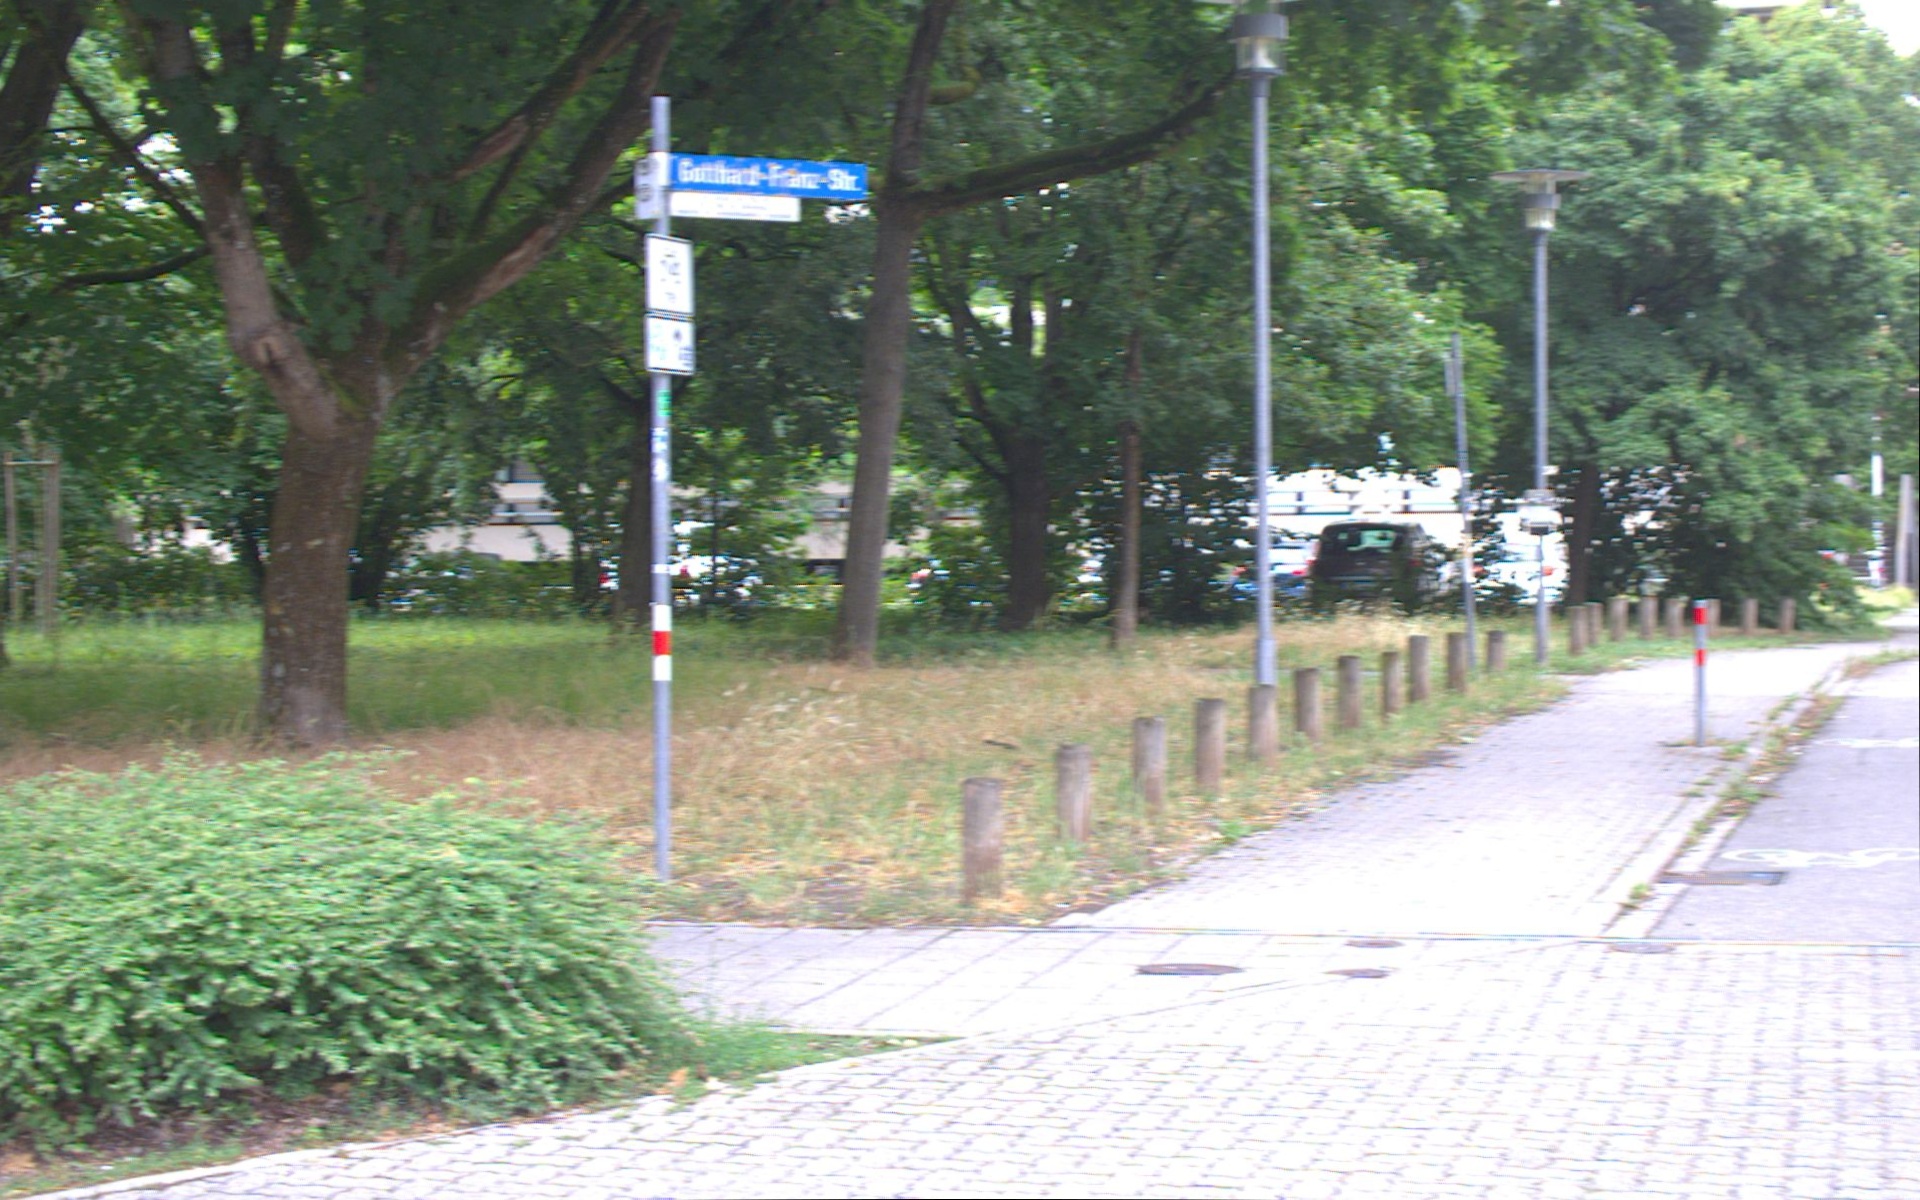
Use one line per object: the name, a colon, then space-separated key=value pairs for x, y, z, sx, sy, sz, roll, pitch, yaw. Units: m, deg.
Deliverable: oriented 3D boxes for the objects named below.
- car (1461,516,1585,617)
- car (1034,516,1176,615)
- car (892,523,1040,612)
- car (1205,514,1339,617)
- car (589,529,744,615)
car: x=10.229 y=-0.585 z=62.281 sx=1.994 sy=1.756 sz=3.998 roll=0 pitch=0 yaw=12
car: x=2.736 y=-0.613 z=64.118 sx=1.994 sy=1.722 sz=3.998 roll=0 pitch=-1 yaw=12
car: x=0.146 y=-0.621 z=64.966 sx=1.994 sy=1.612 sz=3.998 roll=0 pitch=1 yaw=12
car: x=5.806 y=-0.602 z=63.541 sx=1.994 sy=1.788 sz=3.998 roll=0 pitch=-1 yaw=12
car: x=-5.692 y=-0.549 z=67.096 sx=1.918 sy=1.612 sz=3.998 roll=0 pitch=1 yaw=12
